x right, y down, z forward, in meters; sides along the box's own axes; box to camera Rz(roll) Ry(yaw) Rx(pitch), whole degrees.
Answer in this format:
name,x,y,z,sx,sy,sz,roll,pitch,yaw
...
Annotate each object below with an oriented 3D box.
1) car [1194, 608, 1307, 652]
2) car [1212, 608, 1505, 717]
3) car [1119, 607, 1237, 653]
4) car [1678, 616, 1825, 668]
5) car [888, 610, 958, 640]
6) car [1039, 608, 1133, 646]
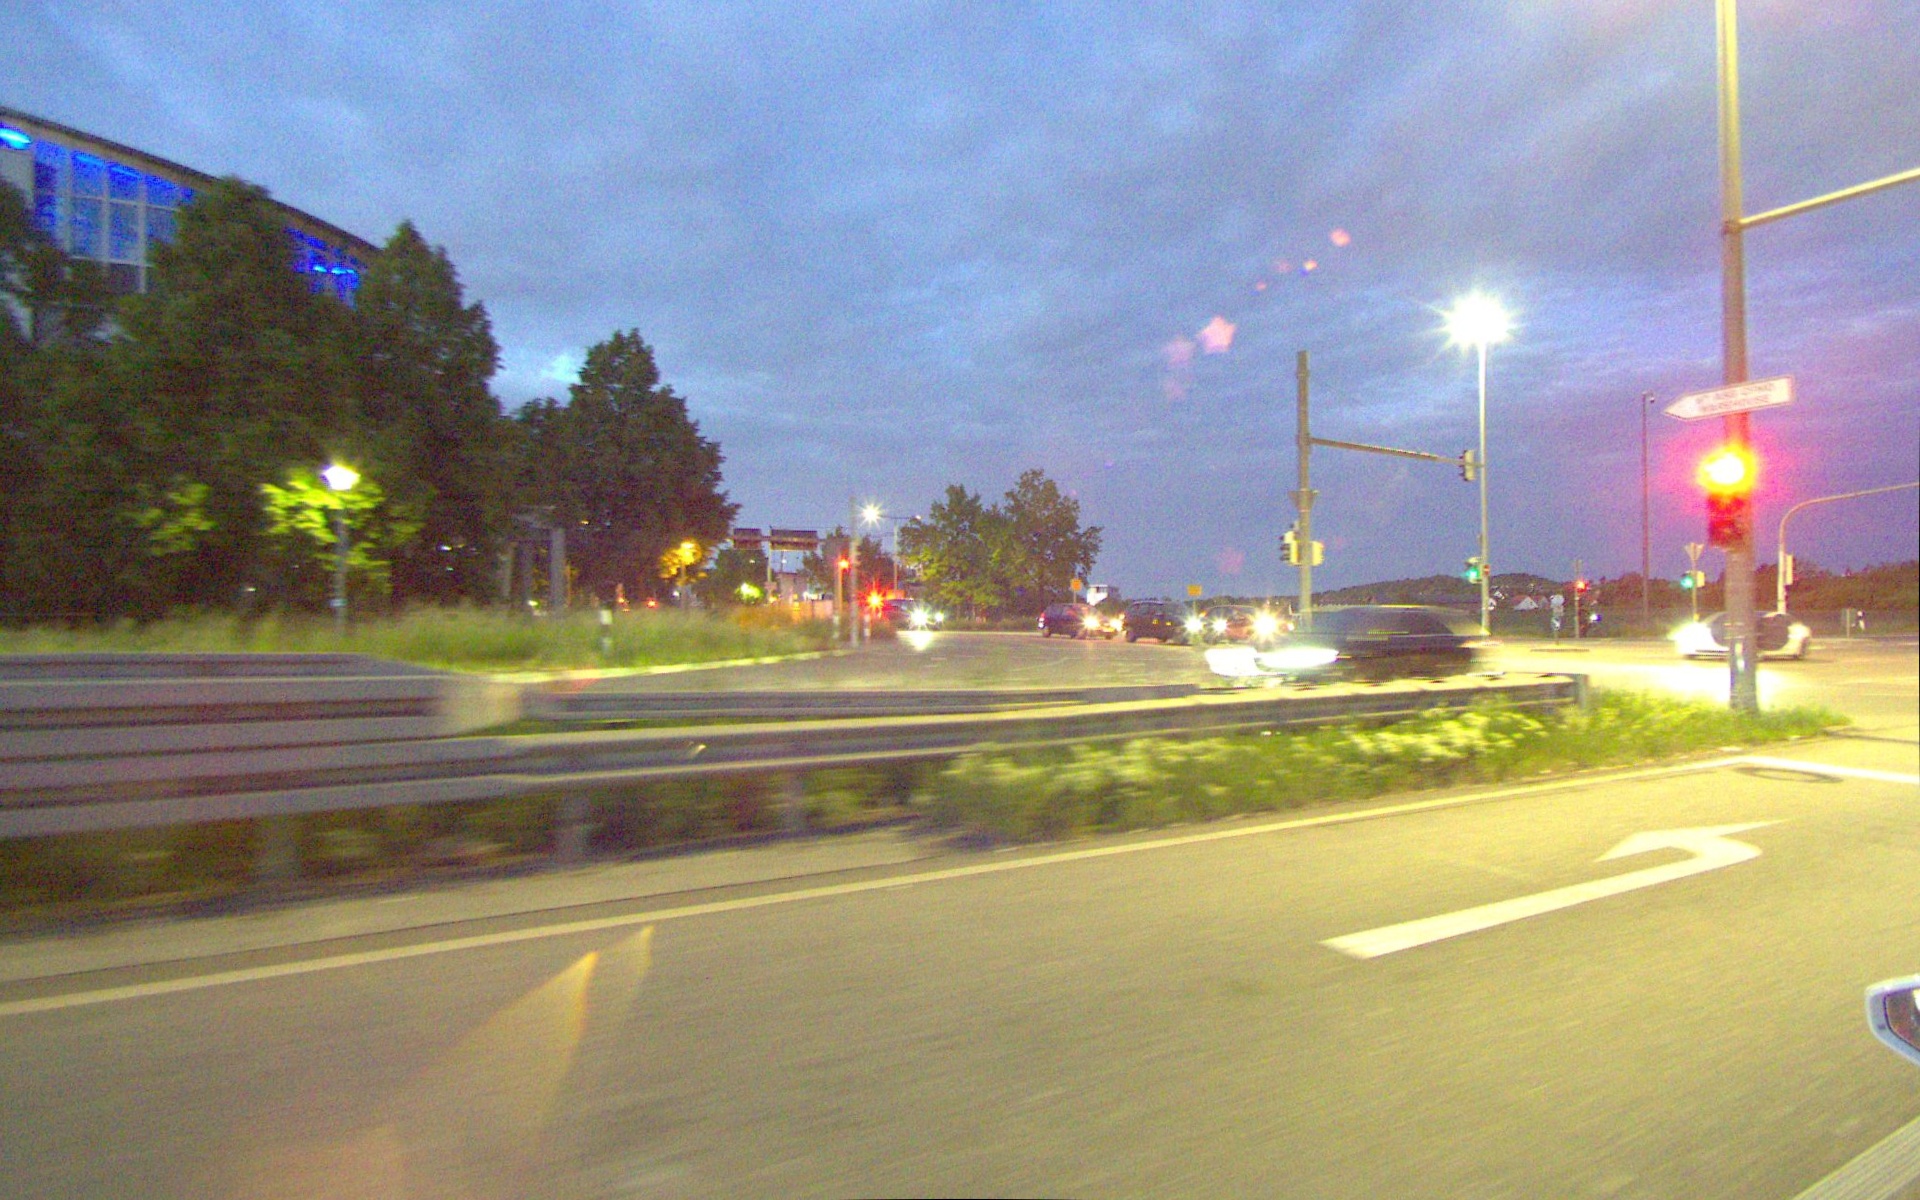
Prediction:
name,x,y,z,sx,sy,sz,roll,pitch,yaw
car,10.943,1.125,38.026,1.710,1.558,4.018,1,-1,-32
car,6.402,0.902,16.005,4.628,1.501,1.983,1,-1,-31
car,7.802,1.058,36.281,1.709,1.558,4.292,1,-1,-31
car,23.530,1.199,29.834,4.480,1.444,1.983,1,-1,-31
car,-2.277,1.505,60.245,2.186,1.716,4.566,1,-1,-32
car,5.198,1.106,41.881,1.712,1.493,3.960,1,-2,-35
